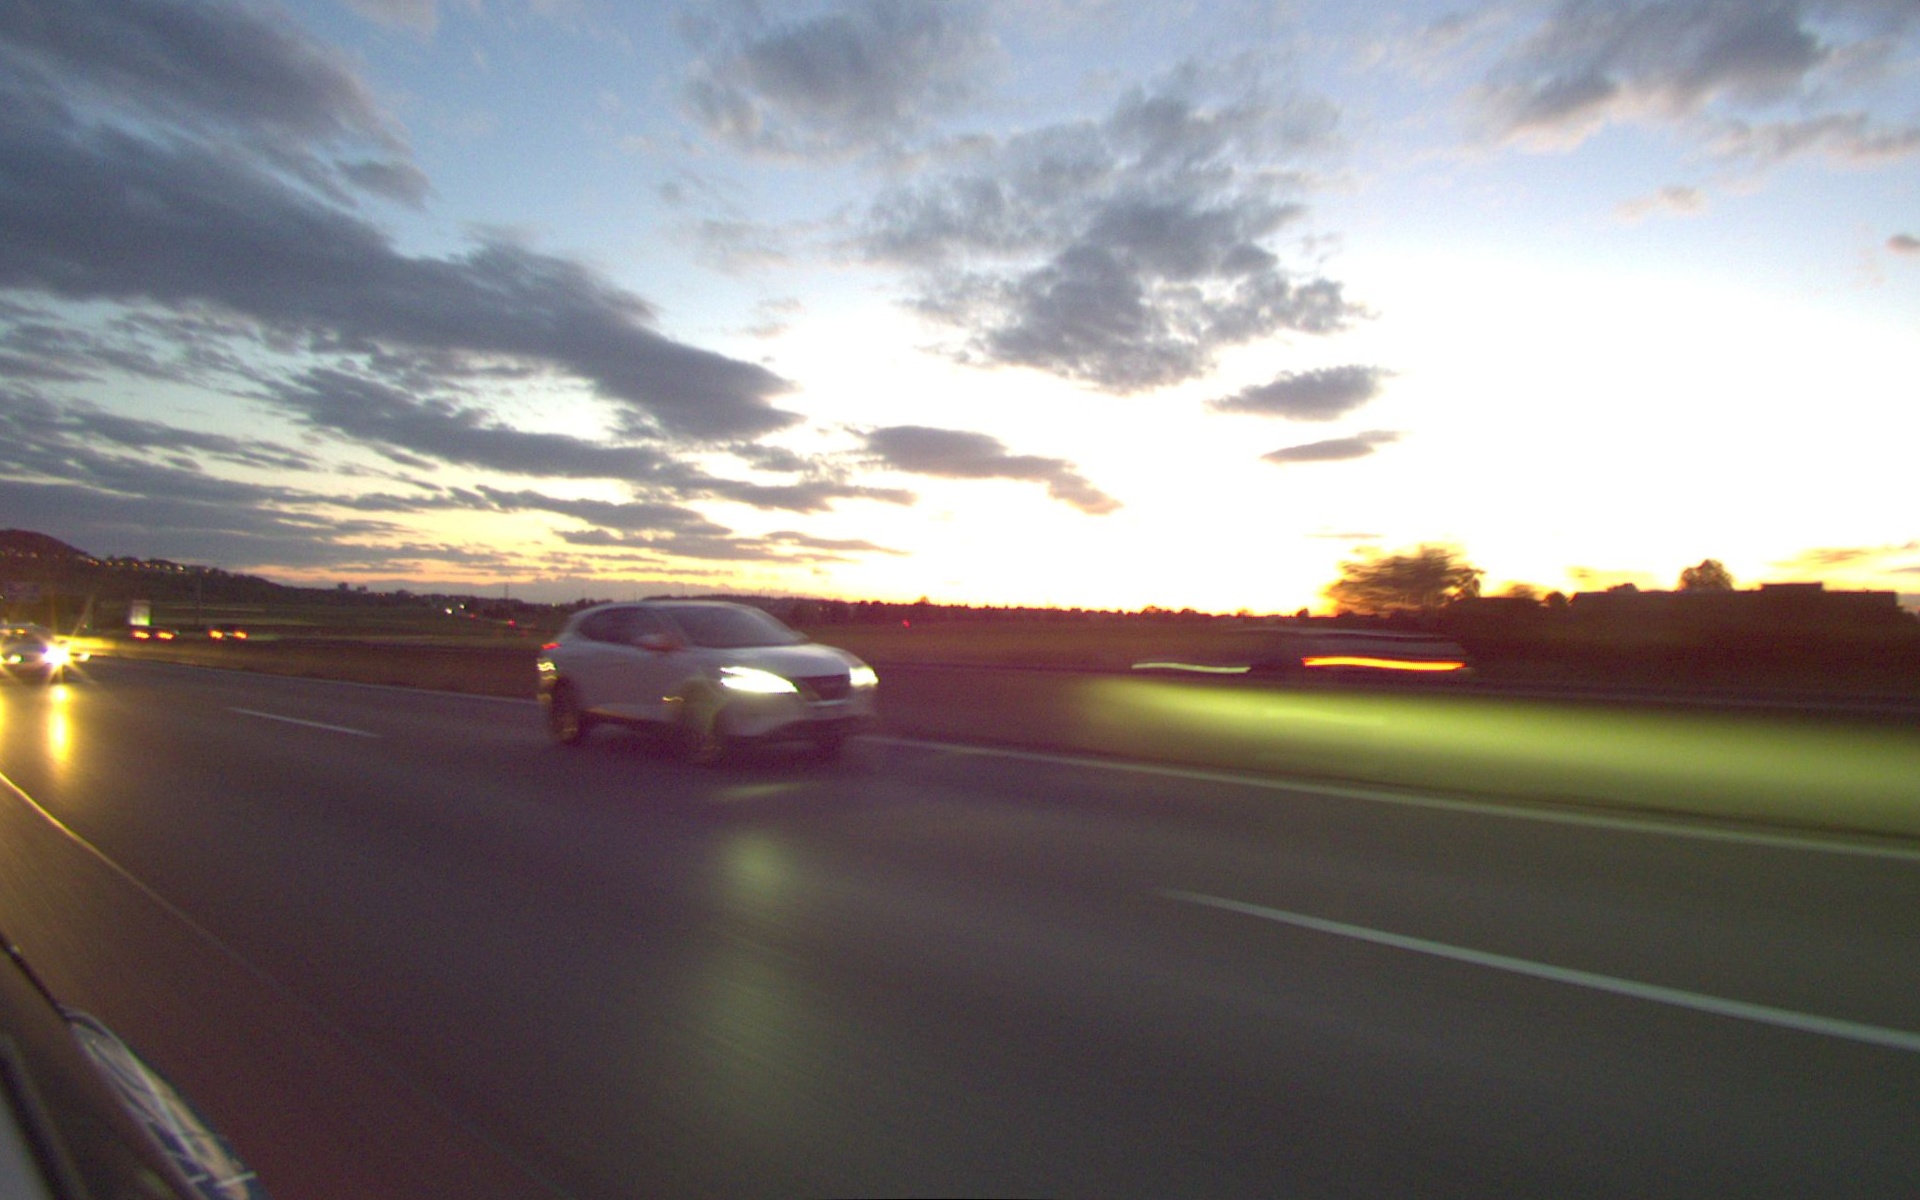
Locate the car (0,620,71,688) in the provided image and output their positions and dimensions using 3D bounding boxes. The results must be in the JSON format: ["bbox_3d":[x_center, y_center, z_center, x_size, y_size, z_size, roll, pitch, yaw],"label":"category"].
[{"bbox_3d":[-24.038,1.311,25.631,4.157,1.552,1.778,-1,0,41],"label":"car"}]

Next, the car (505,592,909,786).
[{"bbox_3d":[-2.923,0.777,10.976,4.854,1.660,1.795,-1,0,41],"label":"car"}]

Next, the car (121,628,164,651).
[{"bbox_3d":[-54.713,2.612,67.710,3.900,1.397,1.588,-1,0,41],"label":"car"}]

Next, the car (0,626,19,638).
[{"bbox_3d":[-119.794,3.998,127.272,4.703,1.310,1.654,-1,0,41],"label":"car"}]

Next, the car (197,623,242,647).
[{"bbox_3d":[-61.611,2.899,84.138,4.955,1.861,1.973,-1,0,41],"label":"car"}]

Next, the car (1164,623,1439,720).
[{"bbox_3d":[6.208,1.221,18.733,4.519,1.510,1.726,-1,0,41],"label":"car"}]

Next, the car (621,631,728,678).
[{"bbox_3d":[-10.908,2.021,38.459,4.519,1.547,1.726,-1,0,41],"label":"car"}]
